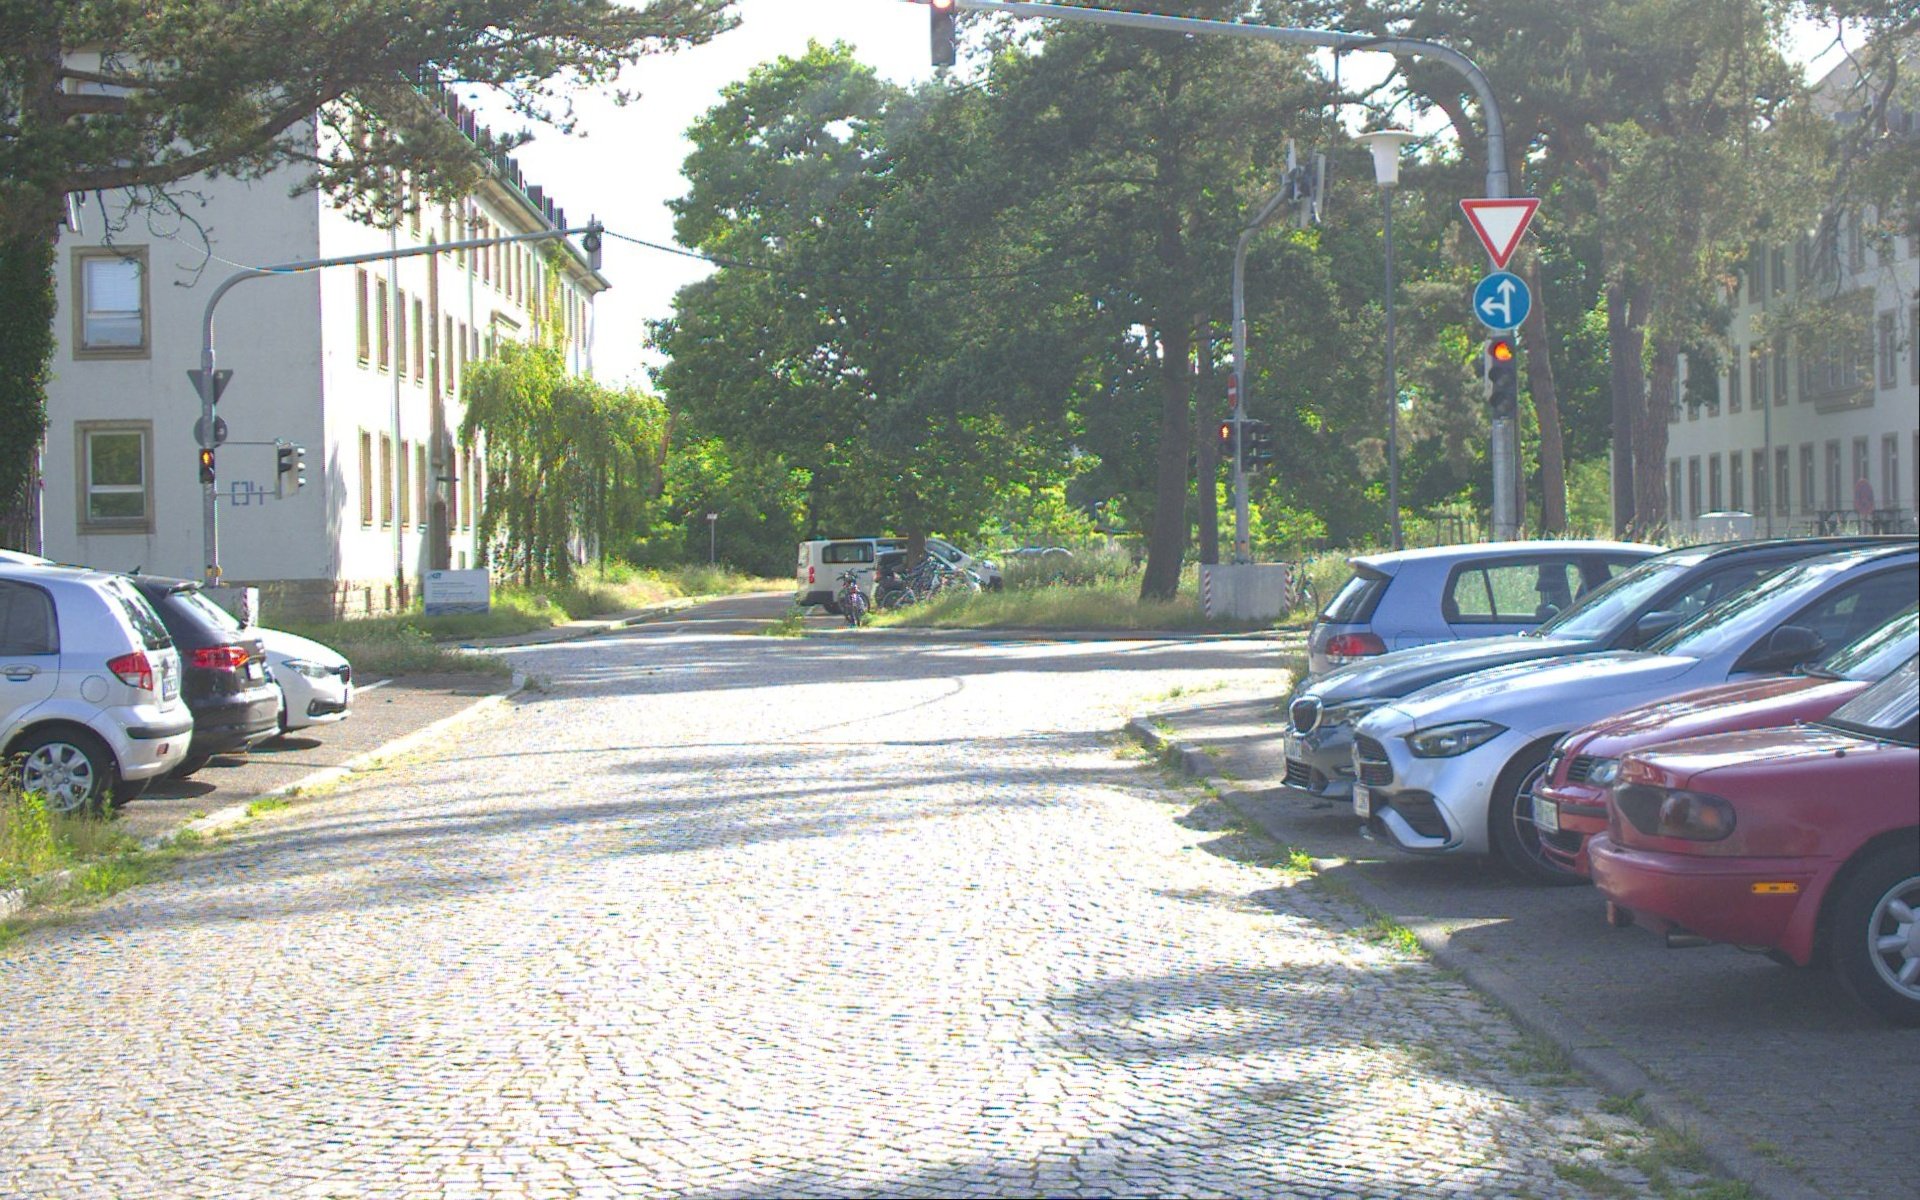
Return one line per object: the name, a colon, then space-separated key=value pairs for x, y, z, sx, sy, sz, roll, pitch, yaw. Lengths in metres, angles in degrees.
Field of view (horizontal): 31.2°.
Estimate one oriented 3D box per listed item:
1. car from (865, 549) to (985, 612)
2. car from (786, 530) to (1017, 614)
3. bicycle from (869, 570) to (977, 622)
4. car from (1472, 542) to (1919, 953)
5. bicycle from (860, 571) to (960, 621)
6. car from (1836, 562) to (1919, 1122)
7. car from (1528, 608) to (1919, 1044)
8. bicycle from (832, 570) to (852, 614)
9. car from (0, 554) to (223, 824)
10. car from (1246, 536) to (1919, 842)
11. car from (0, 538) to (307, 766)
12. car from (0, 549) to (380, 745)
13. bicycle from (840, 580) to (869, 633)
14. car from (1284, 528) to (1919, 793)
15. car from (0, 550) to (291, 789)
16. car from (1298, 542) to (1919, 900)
car: x=-0.876 y=-0.476 z=84.531 sx=2.781 sy=1.462 sz=1.671 roll=1 pitch=0 yaw=-6
car: x=-1.506 y=-0.717 z=88.112 sx=5.520 sy=2.007 sz=2.001 roll=1 pitch=0 yaw=-19
bicycle: x=-0.751 y=-0.076 z=70.070 sx=2.108 sy=1.007 sz=0.621 roll=1 pitch=0 yaw=-8
car: x=4.245 y=0.491 z=13.620 sx=4.127 sy=1.444 sz=1.637 roll=-2 pitch=1 yaw=0
bicycle: x=-1.049 y=-0.088 z=71.767 sx=2.004 sy=1.007 sz=0.632 roll=1 pitch=0 yaw=-8
car: x=4.328 y=0.569 z=8.677 sx=3.707 sy=1.444 sz=1.816 roll=-2 pitch=1 yaw=-1
car: x=3.889 y=0.638 z=11.274 sx=3.707 sy=1.219 sz=1.746 roll=-2 pitch=1 yaw=0
bicycle: x=-2.729 y=-0.190 z=79.683 sx=0.417 sy=1.007 sz=1.483 roll=1 pitch=0 yaw=-1
car: x=-6.347 y=0.468 z=20.152 sx=3.745 sy=1.482 sz=1.646 roll=1 pitch=1 yaw=-4
car: x=3.914 y=0.424 z=18.472 sx=4.559 sy=1.410 sz=1.637 roll=-2 pitch=1 yaw=0
car: x=-7.076 y=0.345 z=25.726 sx=4.079 sy=1.588 sz=1.886 roll=1 pitch=1 yaw=-4
car: x=-7.012 y=0.350 z=28.012 sx=4.333 sy=1.463 sz=1.831 roll=1 pitch=1 yaw=-4
bicycle: x=-2.043 y=0.124 z=66.453 sx=0.467 sy=1.007 sz=1.586 roll=1 pitch=0 yaw=-5
car: x=4.052 y=0.342 z=21.253 sx=3.882 sy=1.410 sz=1.637 roll=-2 pitch=1 yaw=0
car: x=-6.569 y=0.410 z=22.772 sx=3.986 sy=1.475 sz=1.803 roll=1 pitch=1 yaw=-4
car: x=3.884 y=0.479 z=15.755 sx=4.432 sy=1.410 sz=1.781 roll=-2 pitch=1 yaw=0
